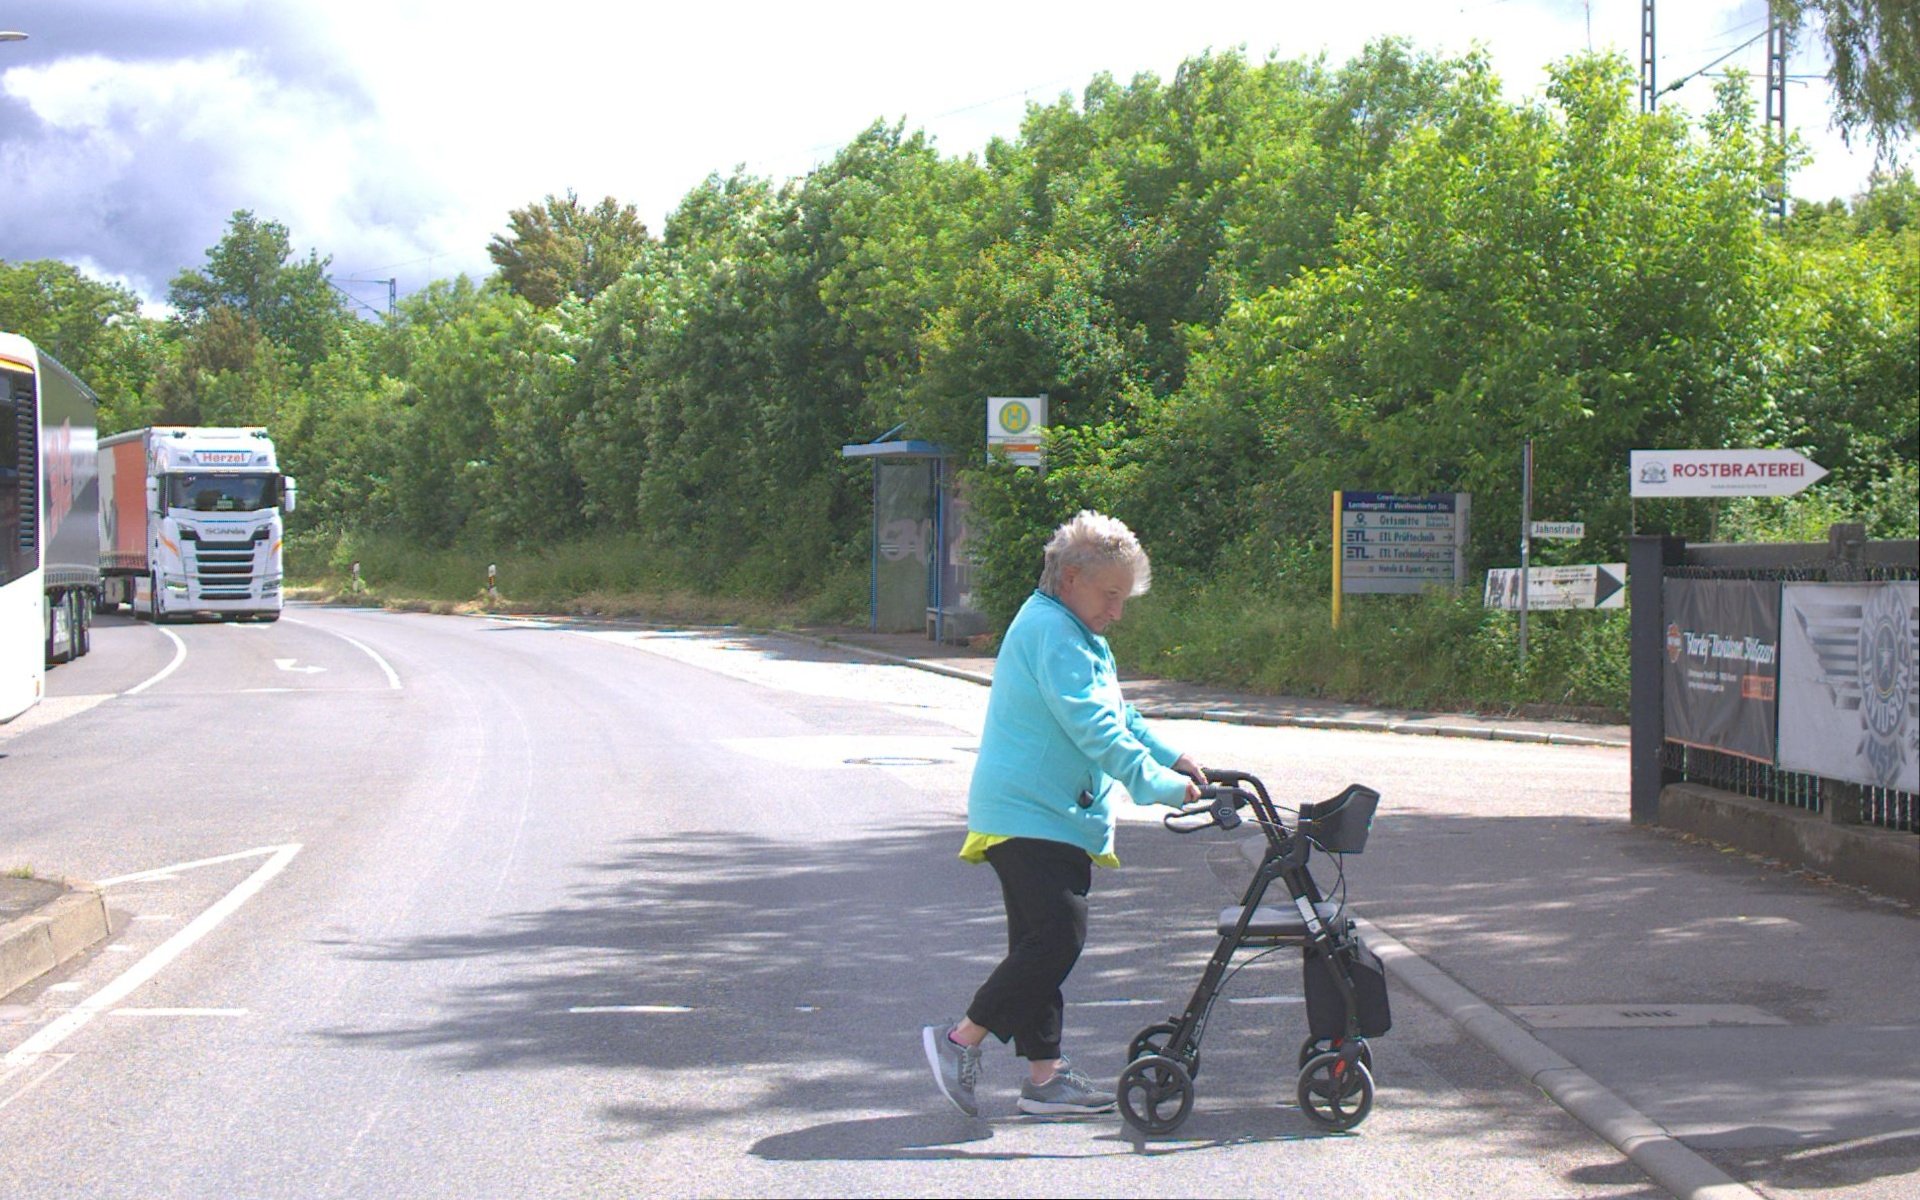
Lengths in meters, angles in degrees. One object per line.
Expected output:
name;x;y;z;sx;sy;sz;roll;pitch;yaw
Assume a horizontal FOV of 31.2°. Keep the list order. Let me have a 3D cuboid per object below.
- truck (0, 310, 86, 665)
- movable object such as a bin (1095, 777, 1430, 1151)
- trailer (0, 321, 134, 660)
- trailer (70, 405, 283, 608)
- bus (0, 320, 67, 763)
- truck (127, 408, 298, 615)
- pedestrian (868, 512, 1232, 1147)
truck;-12.412;-1.331;42.162;2.798;4.039;6.503;1;1;-10
movable object such as a bin;0.754;0.908;8.743;0.746;0.868;0.671;1;0;-4
trailer;-13.590;-1.412;48.571;2.798;4.039;15.560;1;1;-10
trailer;-18.020;-2.028;78.122;2.770;4.130;15.355;1;1;-20
bus;-7.844;-0.347;19.035;2.718;3.020;12.266;0;1;-1
truck;-15.595;-1.805;71.501;2.770;4.105;4.988;1;1;-20
pedestrian;0.210;0.557;8.719;0.838;1.538;0.734;1;0;-4
